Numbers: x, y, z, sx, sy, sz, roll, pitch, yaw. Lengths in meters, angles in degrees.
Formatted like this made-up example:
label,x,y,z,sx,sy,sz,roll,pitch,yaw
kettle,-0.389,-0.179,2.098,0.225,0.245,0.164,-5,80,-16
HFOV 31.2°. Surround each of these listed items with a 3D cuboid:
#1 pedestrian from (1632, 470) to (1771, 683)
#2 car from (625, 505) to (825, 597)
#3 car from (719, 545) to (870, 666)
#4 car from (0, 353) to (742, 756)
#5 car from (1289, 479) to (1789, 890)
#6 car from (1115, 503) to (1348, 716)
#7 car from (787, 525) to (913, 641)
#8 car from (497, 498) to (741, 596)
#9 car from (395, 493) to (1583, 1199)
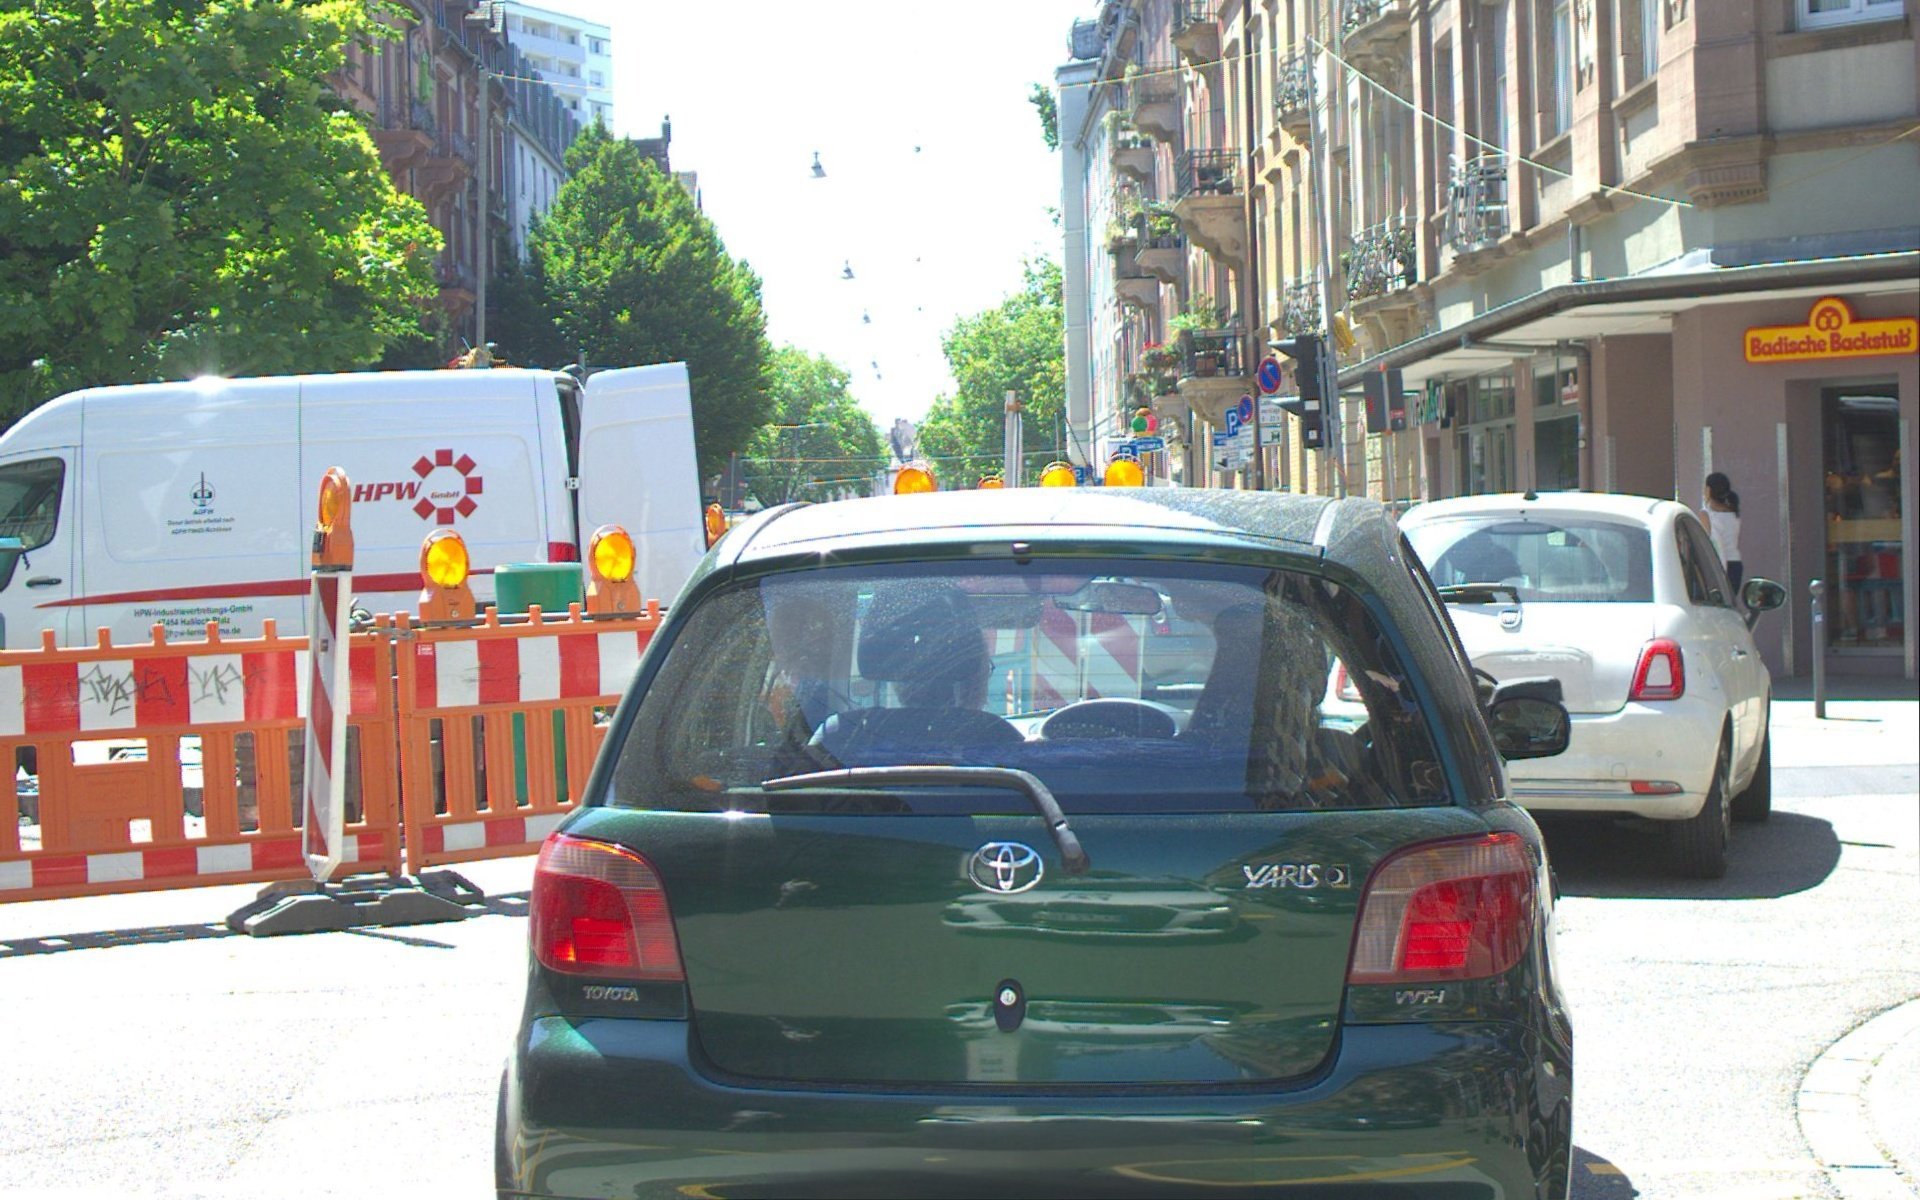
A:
label,x,y,z,sx,sy,sz,roll,pitch,yaw
pedestrian,5.772,-0.186,26.783,0.641,1.618,0.804,-2,1,-33
car,-5.902,-1.245,86.406,4.557,2.180,2.000,-2,1,-27
car,-2.117,0.041,44.831,1.754,1.439,4.000,-2,1,0
car,-4.964,-0.333,24.707,6.621,2.742,2.380,0,1,1
car,2.529,0.271,14.454,1.524,1.516,3.261,-1,1,19
car,2.153,0.031,27.947,1.522,1.587,3.264,-2,1,-1
car,-1.696,-0.296,54.289,1.754,1.639,4.378,-4,1,0
car,-7.336,-1.148,74.060,4.773,1.987,2.054,-2,1,-29
car,0.187,0.559,6.304,1.614,1.480,3.240,-1,2,6
